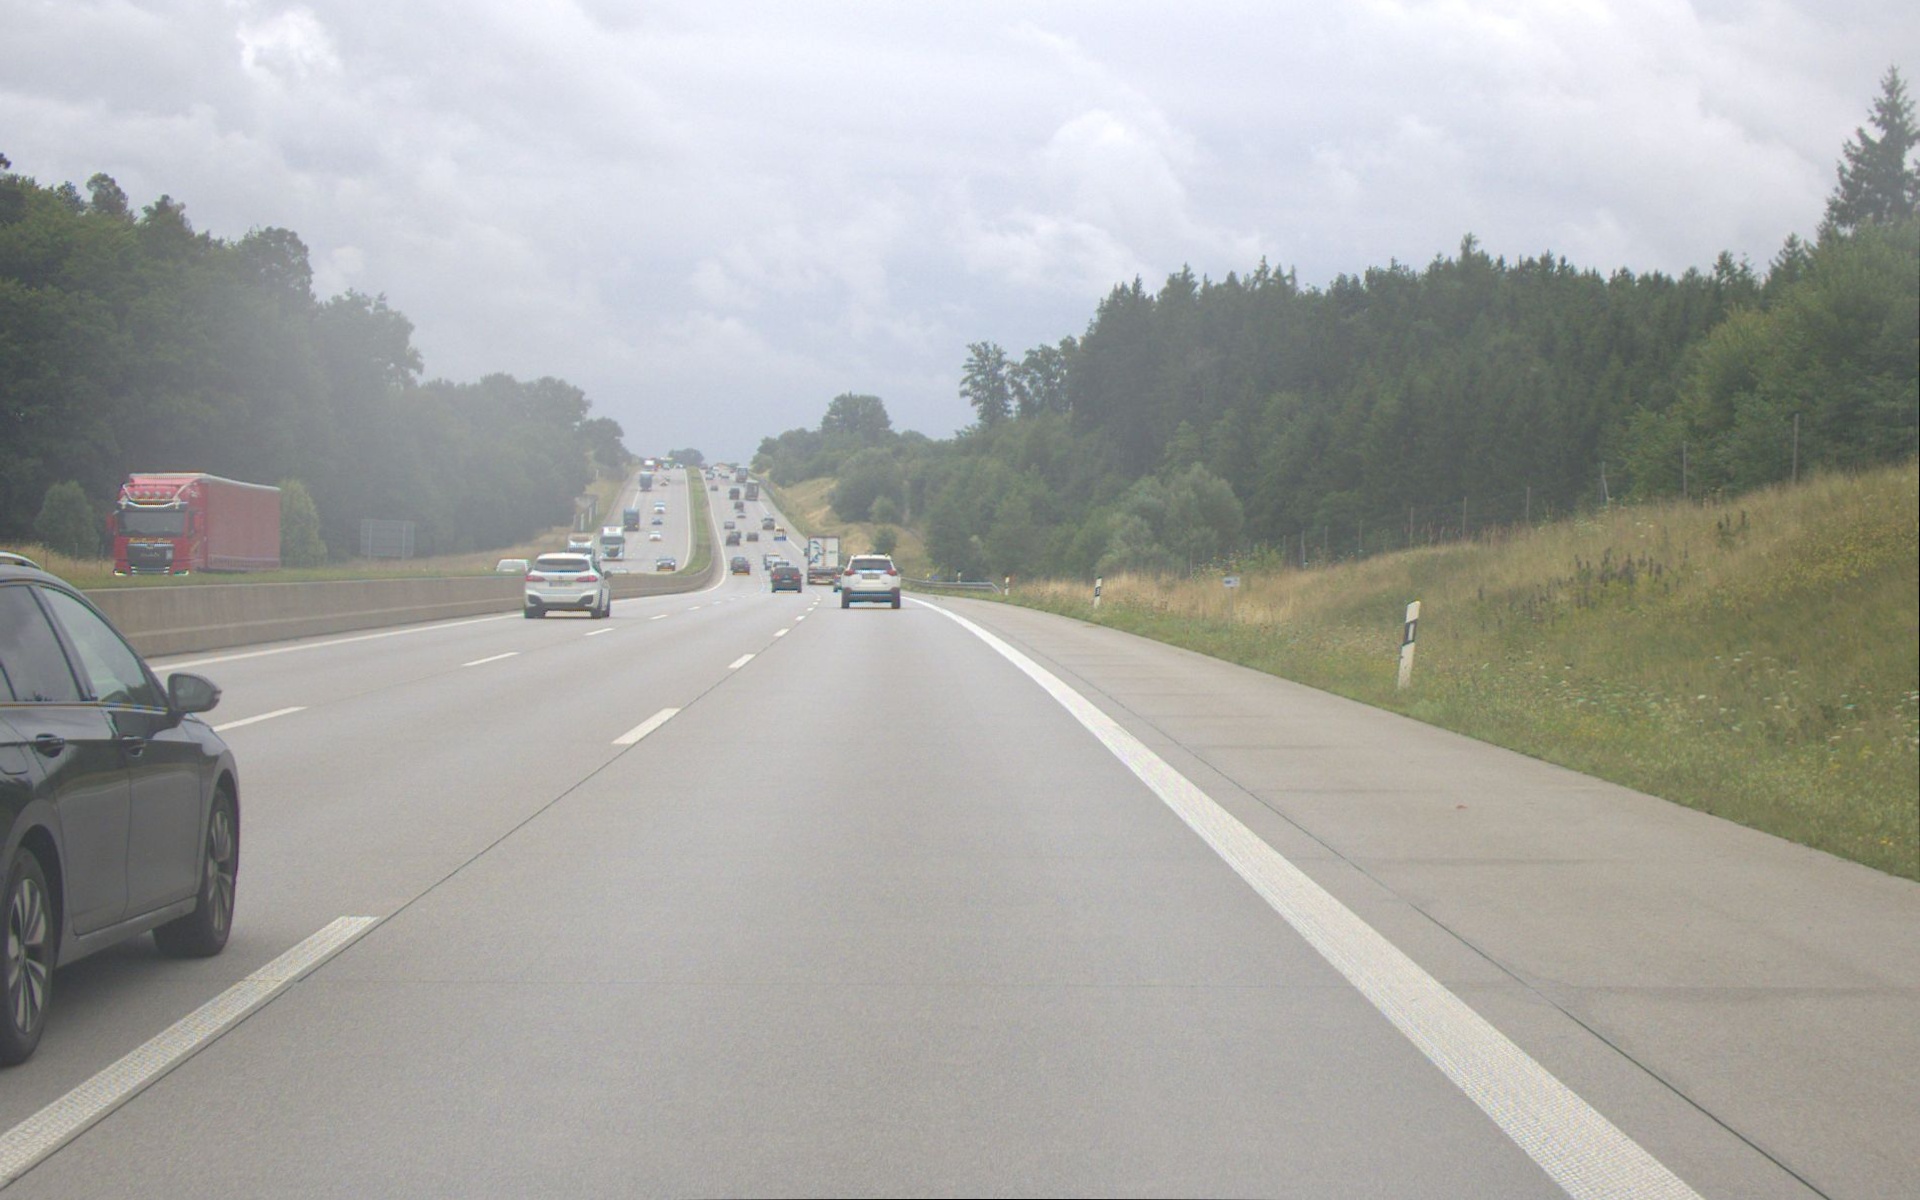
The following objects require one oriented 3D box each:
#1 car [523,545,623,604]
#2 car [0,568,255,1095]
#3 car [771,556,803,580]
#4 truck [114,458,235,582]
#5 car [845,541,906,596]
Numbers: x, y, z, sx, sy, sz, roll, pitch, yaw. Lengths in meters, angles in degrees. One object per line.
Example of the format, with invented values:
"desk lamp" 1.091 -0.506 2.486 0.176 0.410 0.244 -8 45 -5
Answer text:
"car" -9.228 -0.634 82.269 1.947 1.351 4.260 1 1 -1
"car" -3.518 0.614 10.868 1.752 1.393 4.484 1 1 -1
"car" -10.884 -2.019 215.610 1.935 1.370 4.595 1 1 -4
"truck" -25.953 -2.628 113.827 2.553 3.914 6.947 1 1 -2
"car" -2.584 -0.988 105.906 1.825 1.650 3.985 1 1 -1
